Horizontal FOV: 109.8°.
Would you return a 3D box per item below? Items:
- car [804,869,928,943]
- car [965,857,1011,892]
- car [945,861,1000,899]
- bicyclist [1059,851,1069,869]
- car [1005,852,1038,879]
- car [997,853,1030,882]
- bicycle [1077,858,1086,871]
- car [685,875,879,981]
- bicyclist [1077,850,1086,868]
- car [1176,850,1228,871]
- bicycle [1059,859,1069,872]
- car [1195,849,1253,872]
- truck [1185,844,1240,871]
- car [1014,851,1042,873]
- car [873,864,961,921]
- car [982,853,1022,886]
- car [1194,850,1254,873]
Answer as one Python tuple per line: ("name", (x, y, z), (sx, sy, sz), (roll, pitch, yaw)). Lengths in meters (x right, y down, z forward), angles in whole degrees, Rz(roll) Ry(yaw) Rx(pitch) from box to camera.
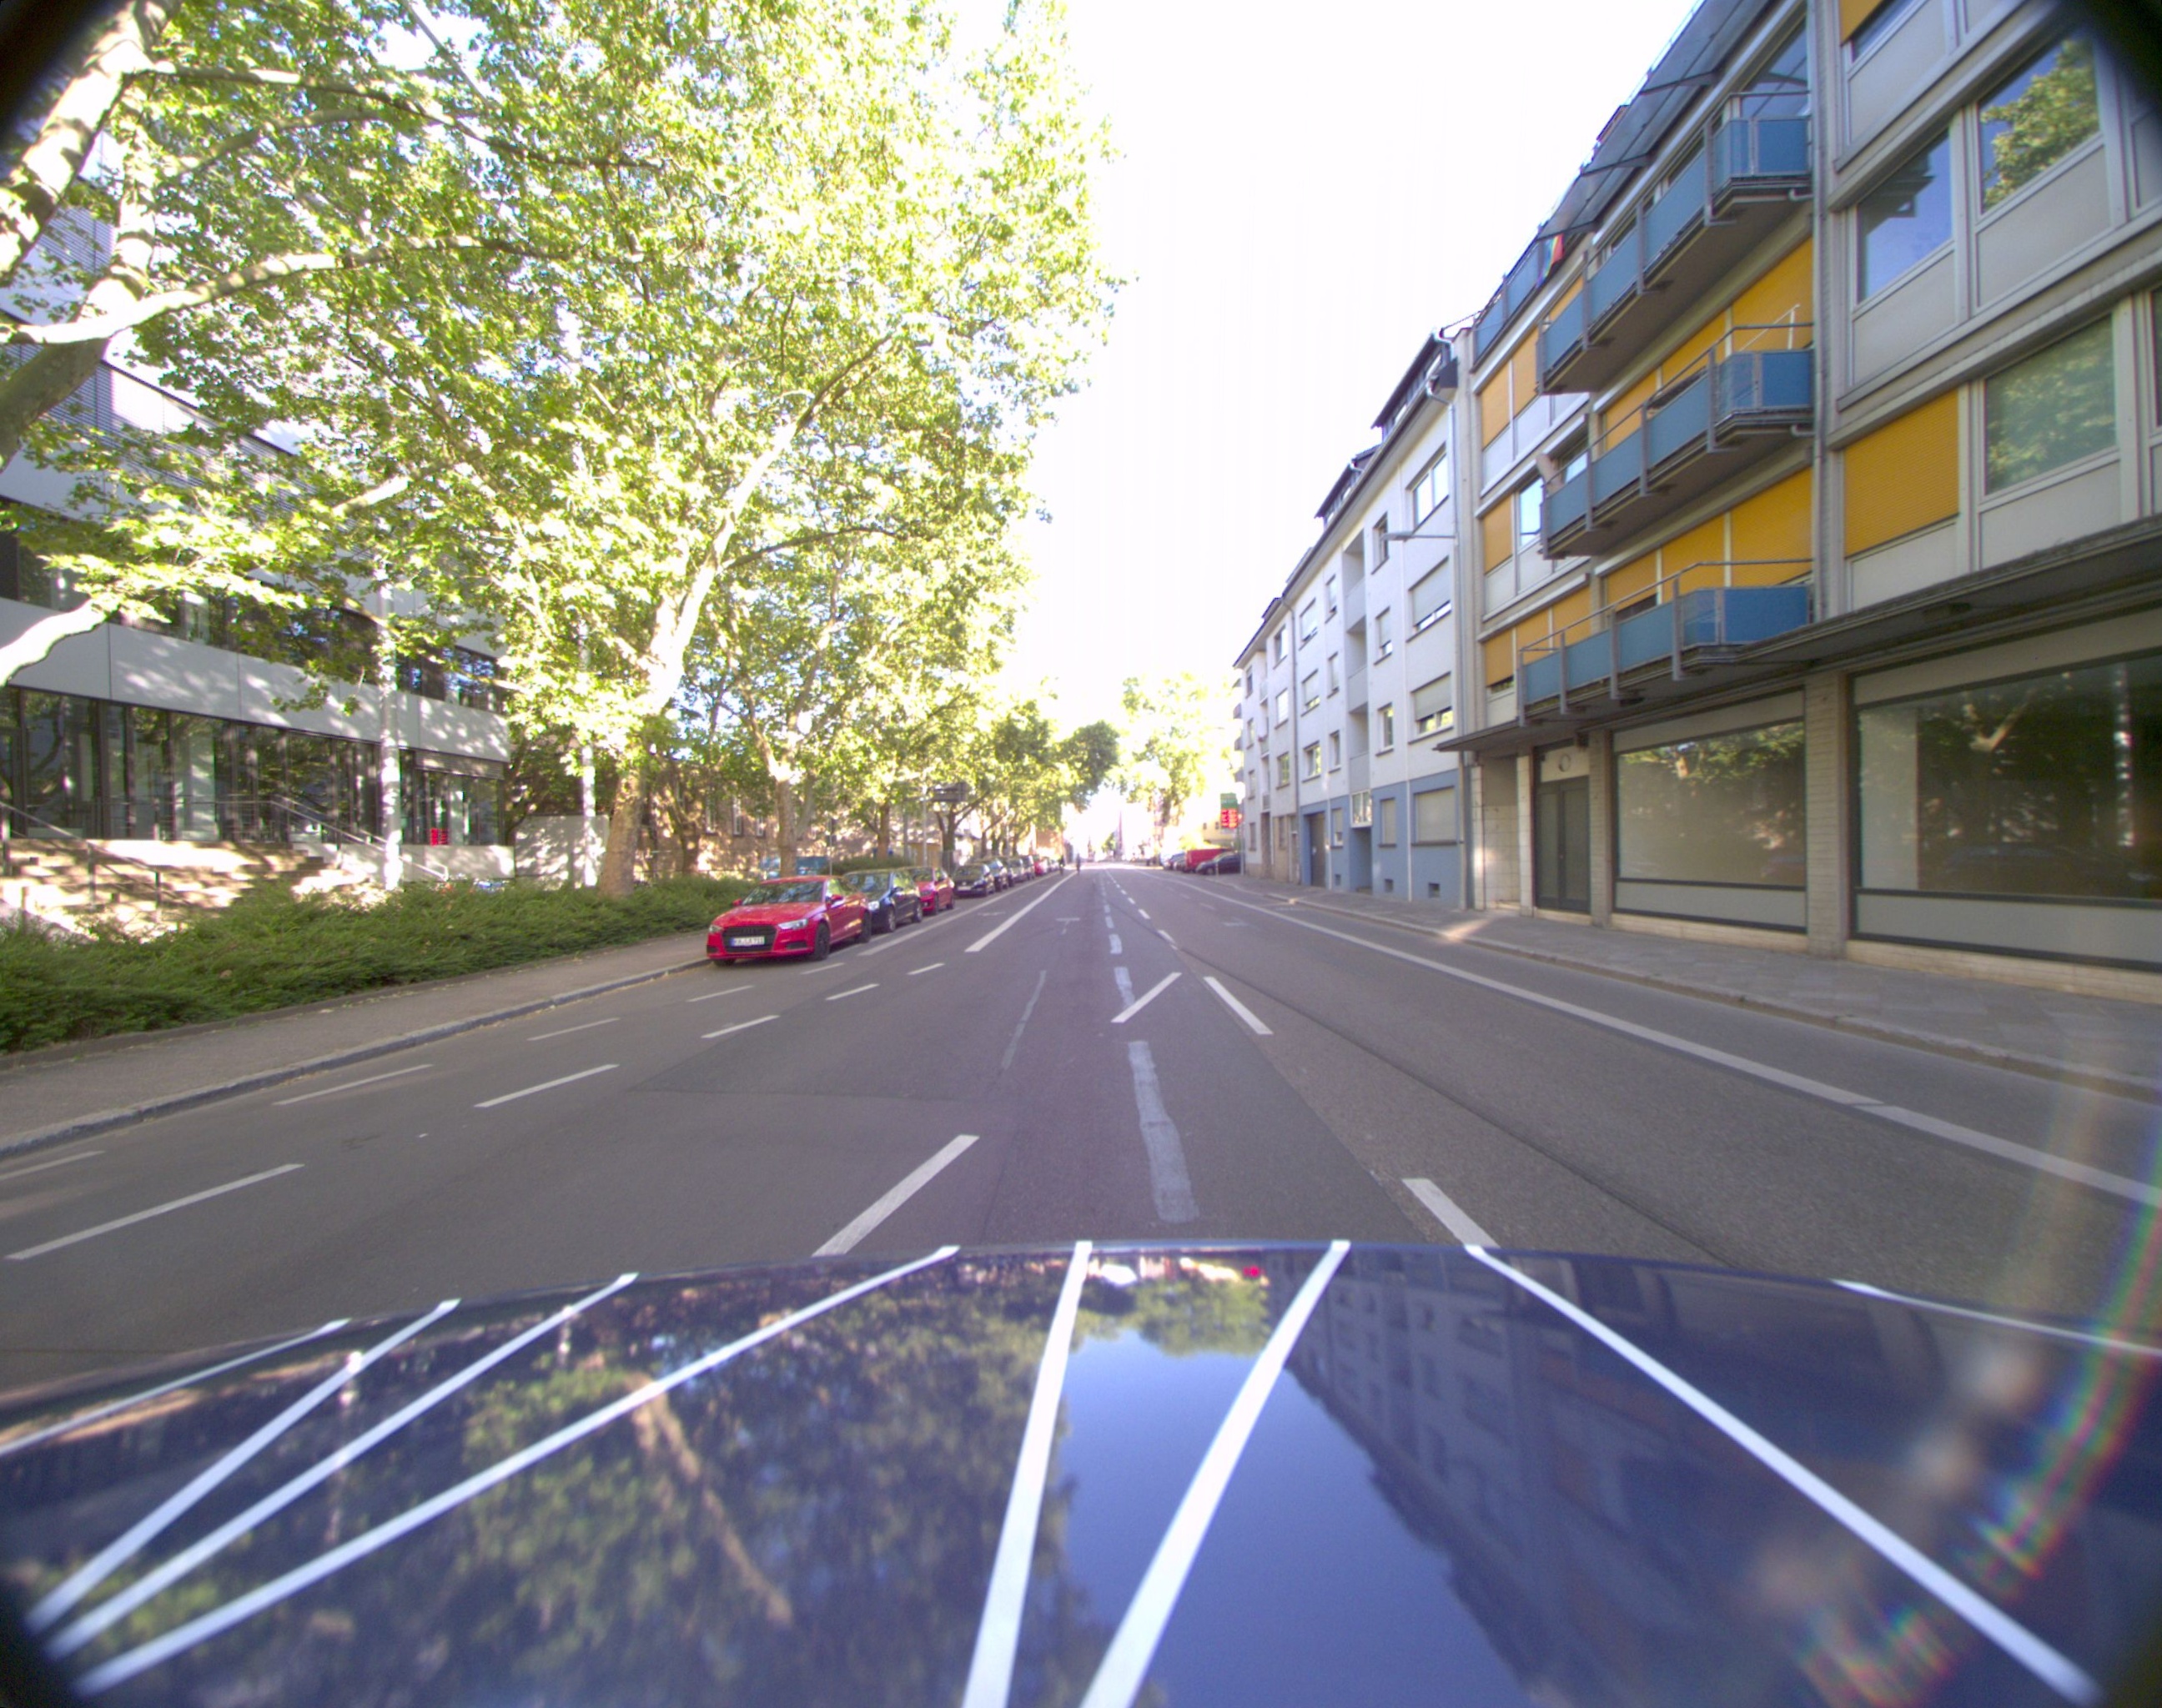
("car", (-5.080, 1.171, 18.576), (1.818, 1.405, 4.163), (-3, 0, 0))
("car", (-4.598, 0.980, 38.132), (1.790, 1.544, 4.163), (-3, 0, 0))
("car", (-4.700, 1.079, 33.386), (1.790, 1.451, 4.163), (-3, 0, 0))
("bicyclist", (-1.479, 0.519, 65.630), (0.718, 1.573, 0.936), (-2, 1, 1))
("car", (-4.314, 0.799, 55.662), (2.042, 1.745, 4.552), (-3, 0, 0))
("car", (-4.443, 0.855, 50.704), (1.790, 1.745, 4.552), (-3, 0, 0))
("bicycle", (0.029, 0.939, 66.966), (0.717, 1.052, 2.485), (-2, 1, 1))
("car", (-5.136, 1.194, 13.720), (1.818, 1.405, 4.163), (-3, 0, 0))
("bicyclist", (0.007, 0.447, 66.970), (0.718, 1.573, 0.936), (-2, 1, 1))
("car", (9.981, 0.527, 62.844), (3.996, 1.494, 1.761), (-2, 1, 2))
("bicycle", (-1.461, 1.010, 65.720), (0.717, 1.052, 2.485), (-2, 1, 1))
("car", (10.731, 0.480, 57.141), (3.996, 1.494, 1.761), (-2, 1, 2))
("truck", (10.371, 0.246, 59.991), (3.996, 1.925, 1.761), (-2, 1, 2))
("car", (-4.588, 0.702, 66.093), (2.042, 1.745, 4.552), (-3, 0, 0))
("car", (-5.027, 1.126, 23.859), (1.818, 1.475, 4.163), (-3, 0, 0))
("car", (-4.521, 0.871, 44.148), (1.790, 1.745, 4.345), (-3, 0, 0))
("car", (10.257, 0.547, 54.794), (3.996, 1.449, 1.761), (-2, 1, 2))
